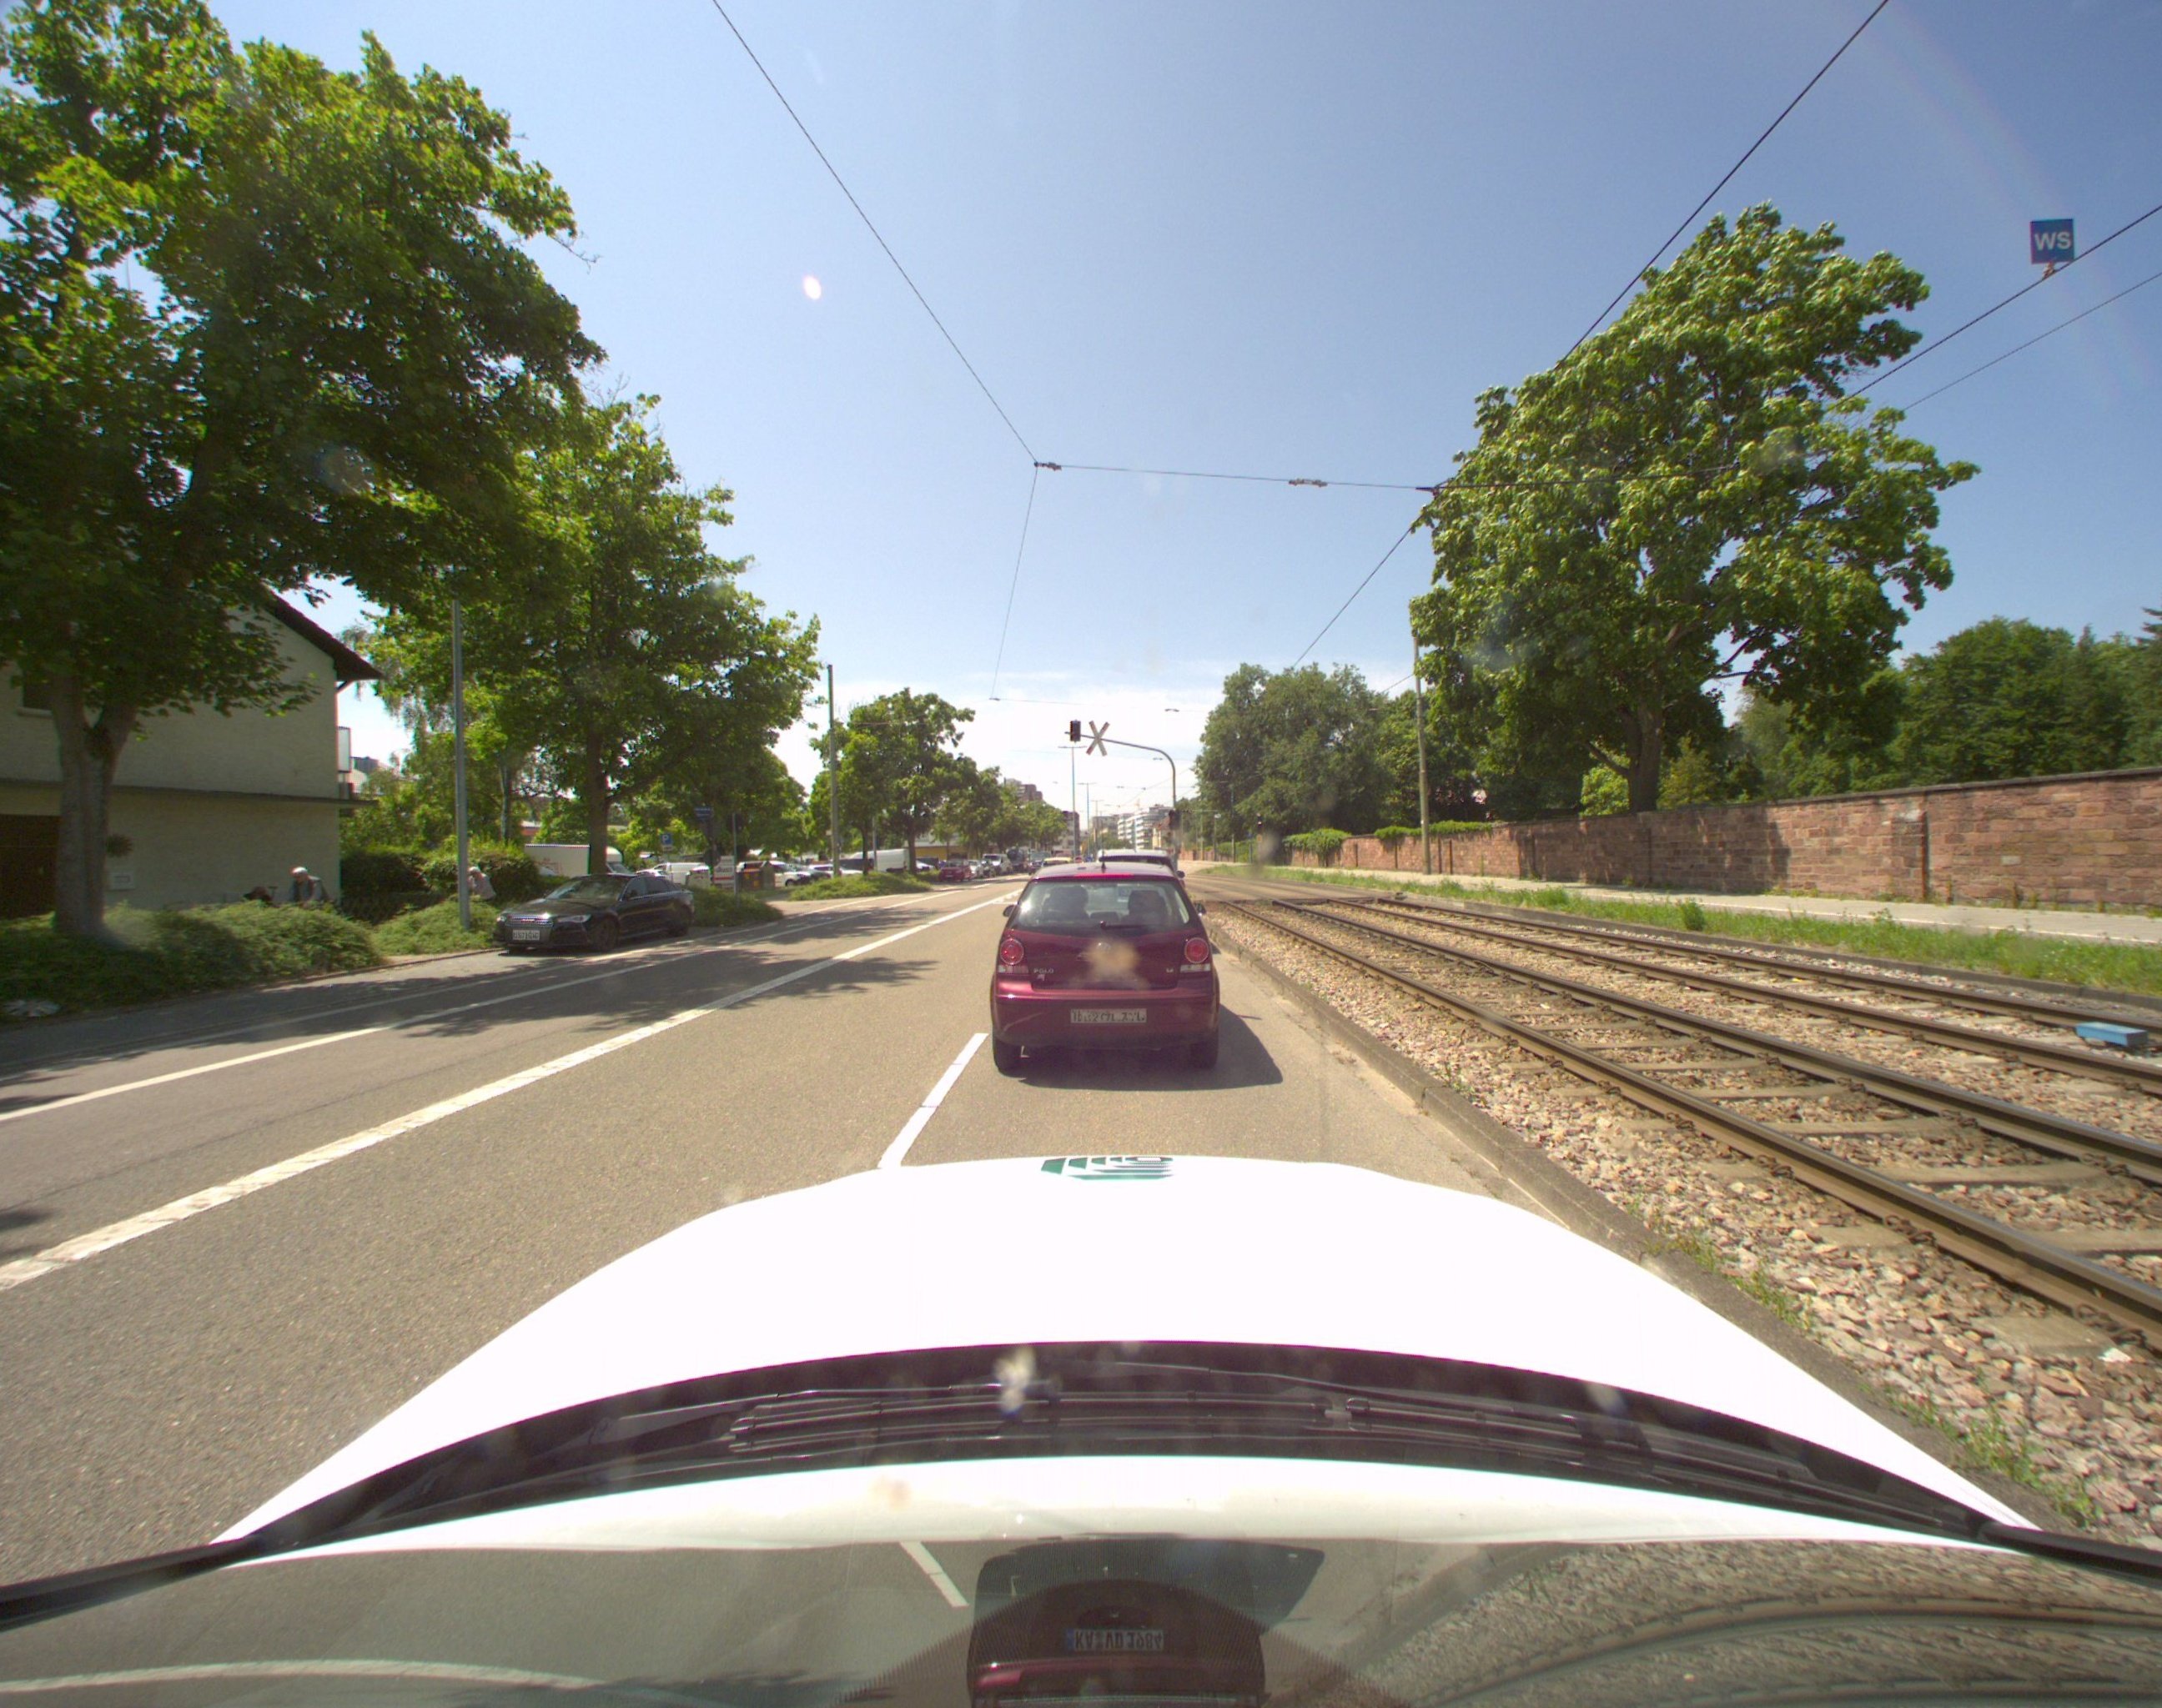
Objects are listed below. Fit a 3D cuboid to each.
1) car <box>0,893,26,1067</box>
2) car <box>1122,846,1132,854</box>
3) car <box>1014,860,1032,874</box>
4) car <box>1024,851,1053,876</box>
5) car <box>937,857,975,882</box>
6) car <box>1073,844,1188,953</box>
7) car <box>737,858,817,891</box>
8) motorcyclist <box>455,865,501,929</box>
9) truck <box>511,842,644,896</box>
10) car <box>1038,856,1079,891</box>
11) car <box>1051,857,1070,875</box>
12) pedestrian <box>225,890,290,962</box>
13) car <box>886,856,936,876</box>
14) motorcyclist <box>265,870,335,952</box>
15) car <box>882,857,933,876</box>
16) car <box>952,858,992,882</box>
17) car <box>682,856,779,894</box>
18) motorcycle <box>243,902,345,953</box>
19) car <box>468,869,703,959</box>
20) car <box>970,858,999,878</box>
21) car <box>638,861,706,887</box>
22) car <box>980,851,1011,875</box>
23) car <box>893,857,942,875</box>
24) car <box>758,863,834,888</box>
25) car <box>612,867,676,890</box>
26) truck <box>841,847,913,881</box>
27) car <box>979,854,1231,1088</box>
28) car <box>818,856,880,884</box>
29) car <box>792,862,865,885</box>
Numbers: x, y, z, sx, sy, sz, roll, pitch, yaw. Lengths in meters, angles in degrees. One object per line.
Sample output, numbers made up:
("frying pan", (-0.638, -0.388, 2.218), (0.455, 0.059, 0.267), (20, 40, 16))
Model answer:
("car", (-10.206, 1.100, 5.133), (1.670, 1.486, 4.130), (0, 0, 2))
("car", (10.735, -0.886, 189.590), (1.914, 1.910, 4.566), (-2, 0, -3))
("car", (-6.281, 1.419, 88.153), (1.399, 1.440, 3.842), (2, 0, 2))
("car", (-3.535, 0.793, 68.459), (1.911, 1.910, 4.573), (-3, 0, 2))
("car", (-8.311, 1.020, 54.325), (1.664, 1.546, 3.731), (0, -1, 4))
("car", (0.836, 0.694, 14.688), (1.788, 1.683, 4.002), (0, 0, 2))
("car", (-18.609, 1.258, 49.965), (4.247, 1.835, 1.675), (-2, 0, 4))
("motorcyclist", (-14.628, 1.033, 19.767), (0.584, 1.503, 0.663), (1, 0, 3))
("truck", (-31.691, 0.924, 51.405), (6.954, 3.227, 2.150), (-1, 0, 0))
("car", (-0.936, 0.813, 35.292), (1.545, 1.448, 3.413), (0, 0, 2))
("car", (-2.370, 1.331, 94.304), (1.892, 1.926, 4.820), (-3, 0, 1))
("pedestrian", (-17.969, 1.555, 17.778), (0.789, 1.510, 0.610), (-2, 0, 8))
("car", (-17.484, 1.242, 84.094), (4.702, 1.813, 1.797), (-2, 0, 0))
("motorcyclist", (-14.843, 1.066, 15.494), (0.584, 1.503, 0.726), (1, 0, 3))
("car", (-17.491, 1.254, 82.077), (4.702, 1.813, 1.797), (-2, 0, 0))
("car", (-8.101, 1.169, 61.002), (1.710, 1.427, 4.780), (-6, 0, 7))
("car", (-19.338, 1.138, 45.076), (4.437, 1.857, 2.059), (-2, 0, -3))
("motorcycle", (-14.842, 1.363, 15.405), (0.524, 0.825, 1.372), (1, 0, 3))
("car", (-9.804, 1.098, 16.691), (1.888, 1.456, 4.808), (0, 0, 0))
("car", (-7.779, 1.121, 66.146), (1.607, 1.484, 3.789), (2, 0, 4))
("car", (-30.784, 1.507, 61.400), (4.112, 1.820, 1.971), (-1, 0, 1))
("car", (-7.469, 0.778, 71.495), (1.854, 1.937, 4.811), (2, 0, 4))
("car", (-17.354, 1.274, 86.669), (4.702, 1.813, 1.797), (-2, 0, 0))
("car", (-18.461, 1.364, 52.868), (4.185, 1.403, 2.079), (-2, 0, -2))
("car", (-31.698, 1.781, 59.132), (3.733, 1.576, 1.733), (-1, 0, 1))
("truck", (-17.875, 0.851, 71.520), (5.555, 2.759, 2.434), (-2, 0, 3))
("car", (0.216, 0.752, 7.237), (1.603, 1.498, 4.002), (0, 0, 2))
("car", (-18.060, 1.248, 63.601), (4.195, 1.995, 1.857), (-2, 0, 0))
("car", (-18.793, 1.455, 60.783), (4.745, 1.488, 2.058), (-2, 0, 0))
